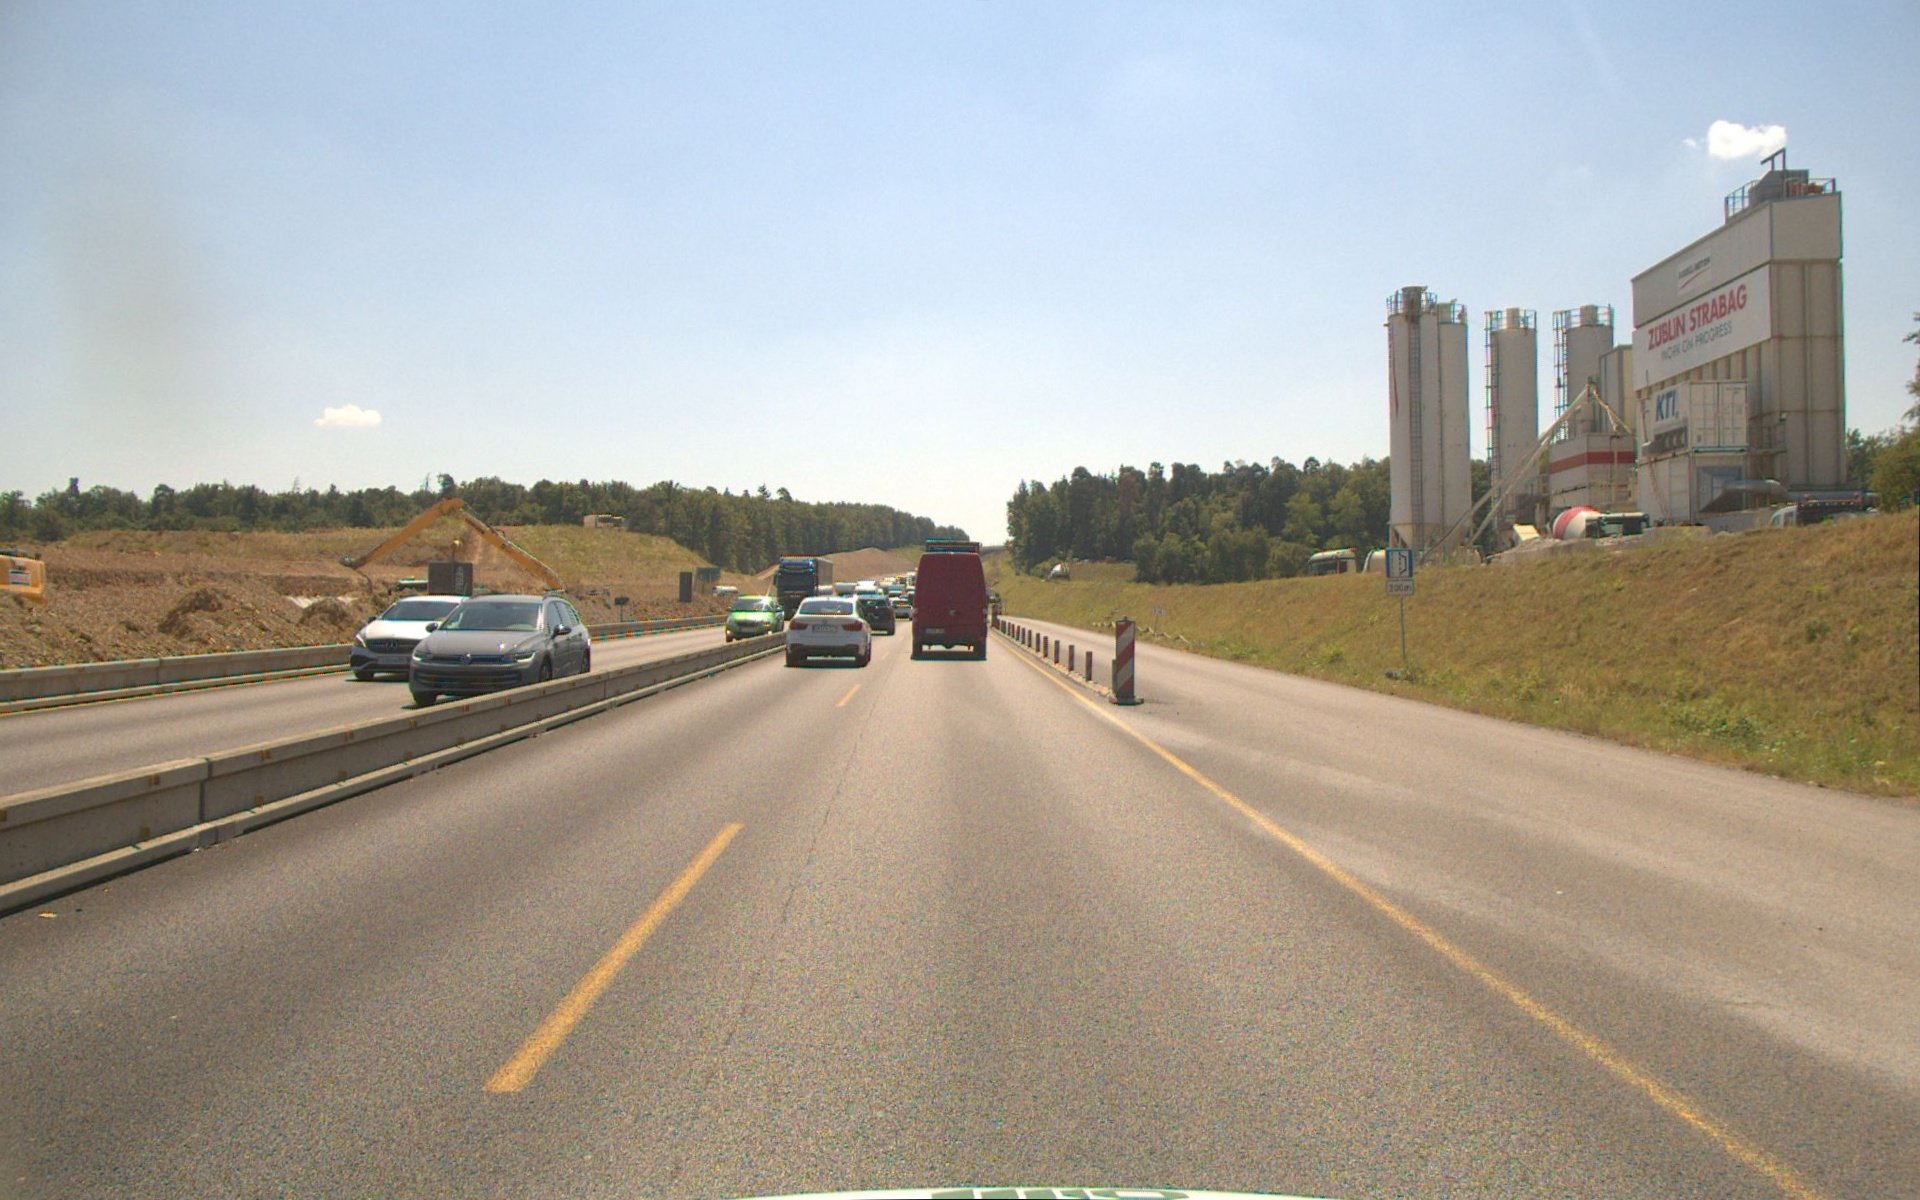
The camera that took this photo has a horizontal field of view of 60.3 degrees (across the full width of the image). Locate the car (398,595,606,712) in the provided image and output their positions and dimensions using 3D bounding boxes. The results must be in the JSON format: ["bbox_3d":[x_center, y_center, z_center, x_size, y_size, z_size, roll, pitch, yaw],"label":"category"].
[{"bbox_3d":[-6.416,0.694,23.694,1.750,1.502,4.523,1,0,-1],"label":"car"}]

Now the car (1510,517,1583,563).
[{"bbox_3d":[28.514,-2.888,80.575,1.953,2.049,4.427,0,0,-1],"label":"car"}]

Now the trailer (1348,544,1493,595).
[{"bbox_3d":[30.354,-2.000,109.079,8.848,3.286,3.317,-1,0,-16],"label":"trailer"}]

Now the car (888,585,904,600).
[{"bbox_3d":[-8.424,-1.020,216.545,1.953,1.937,3.999,0,0,-1],"label":"car"}]

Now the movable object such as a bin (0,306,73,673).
[{"bbox_3d":[-24.278,-2.344,36.490,7.479,7.848,3.446,0,0,1],"label":"movable object such as a bin"}]

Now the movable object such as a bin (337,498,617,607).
[{"bbox_3d":[-33.605,-3.304,115.721,18.336,7.358,3.614,-1,0,-3],"label":"movable object such as a bin"}]

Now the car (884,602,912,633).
[{"bbox_3d":[-4.121,1.149,110.126,1.727,2.049,3.826,0,0,-1],"label":"car"}]

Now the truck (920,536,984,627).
[{"bbox_3d":[-0.370,-0.868,81.689,2.954,4.225,8.272,0,0,0],"label":"truck"}]

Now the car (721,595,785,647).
[{"bbox_3d":[-6.700,0.639,53.866,1.570,1.607,4.167,0,0,-1],"label":"car"}]

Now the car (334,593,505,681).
[{"bbox_3d":[-9.683,0.624,29.997,1.656,1.459,4.448,1,0,-1],"label":"car"}]

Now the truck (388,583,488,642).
[{"bbox_3d":[-25.149,0.558,80.068,2.268,2.663,8.409,0,0,-1],"label":"truck"}]

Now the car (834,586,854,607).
[{"bbox_3d":[-11.517,-0.389,164.569,1.727,2.049,3.826,0,0,-1],"label":"car"}]

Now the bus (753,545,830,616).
[{"bbox_3d":[-11.438,-1.284,114.219,3.863,4.492,17.195,0,0,-1],"label":"bus"}]

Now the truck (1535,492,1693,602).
[{"bbox_3d":[27.887,-2.118,71.097,3.363,4.371,9.931,0,0,3],"label":"truck"}]

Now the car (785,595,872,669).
[{"bbox_3d":[-2.956,0.686,38.058,1.759,1.561,5.071,1,0,-2],"label":"car"}]

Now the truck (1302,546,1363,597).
[{"bbox_3d":[24.255,-1.828,107.521,2.837,3.167,6.010,0,0,23],"label":"truck"}]

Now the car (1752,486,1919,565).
[{"bbox_3d":[25.134,-2.078,47.626,2.178,2.049,4.992,0,0,-1],"label":"car"}]

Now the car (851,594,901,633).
[{"bbox_3d":[-3.394,0.533,67.618,1.758,1.561,3.932,0,0,1],"label":"car"}]

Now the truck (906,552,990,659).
[{"bbox_3d":[-0.269,0.133,44.754,2.068,2.679,6.484,0,0,0],"label":"truck"}]
